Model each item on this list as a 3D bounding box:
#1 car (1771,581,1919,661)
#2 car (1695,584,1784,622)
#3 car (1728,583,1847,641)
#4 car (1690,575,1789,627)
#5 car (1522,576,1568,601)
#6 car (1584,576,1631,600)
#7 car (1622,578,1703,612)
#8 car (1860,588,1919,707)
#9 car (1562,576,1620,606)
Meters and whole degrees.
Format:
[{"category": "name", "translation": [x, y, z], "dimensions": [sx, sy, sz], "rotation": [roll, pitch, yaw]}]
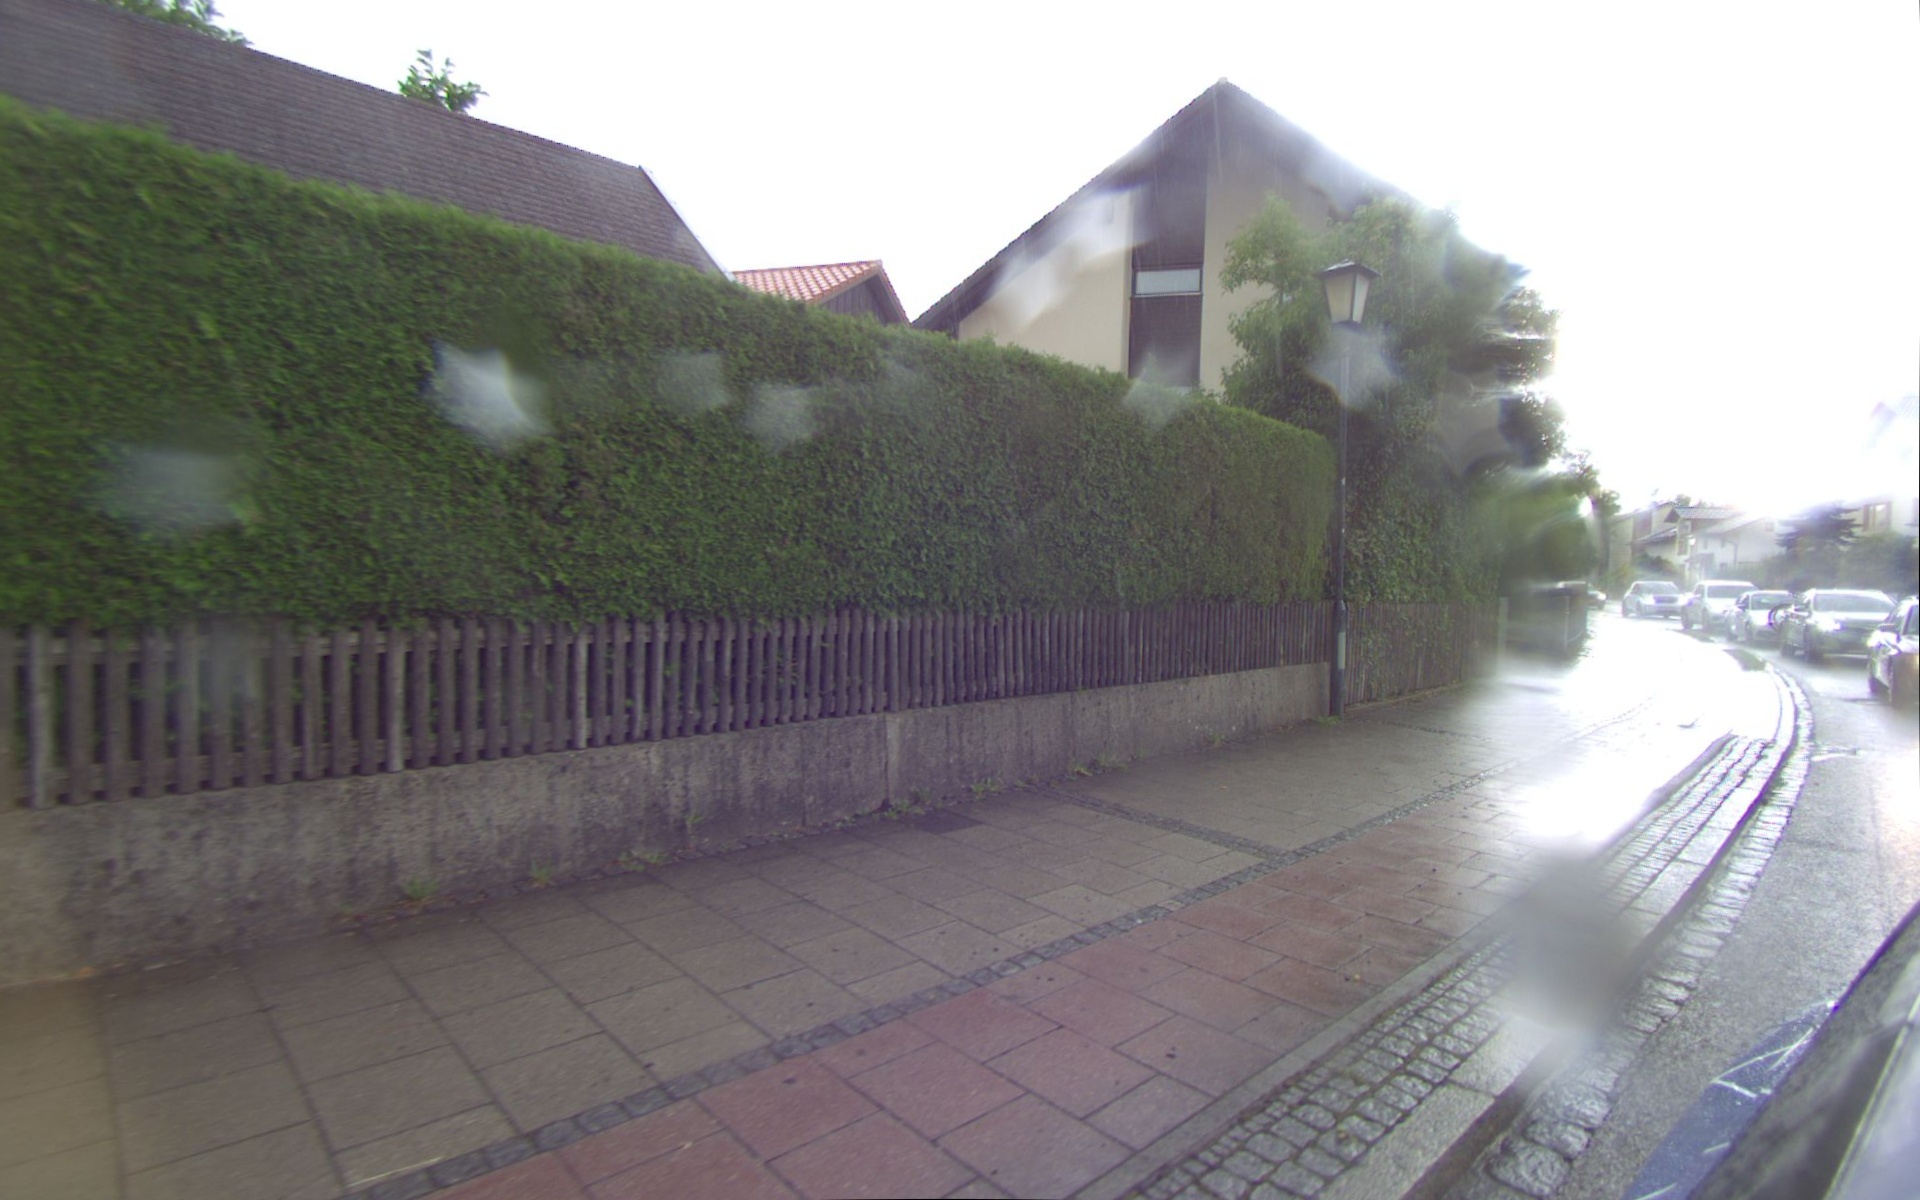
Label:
[{"category": "car", "translation": [19.027, 0.346, 21.675], "dimensions": [1.780, 1.497, 5.329], "rotation": [0, 1, 30]}, {"category": "car", "translation": [34.351, 0.111, 44.744], "dimensions": [1.976, 1.615, 4.162], "rotation": [0, 0, 21]}, {"category": "car", "translation": [21.991, 0.266, 27.054], "dimensions": [1.780, 1.412, 4.236], "rotation": [0, 1, 30]}, {"category": "car", "translation": [25.184, -0.015, 32.836], "dimensions": [1.778, 1.568, 4.241], "rotation": [0, 1, 27]}, {"category": "car", "translation": [39.022, -0.774, 67.587], "dimensions": [1.771, 1.568, 4.256], "rotation": [0, 1, 18]}, {"category": "car", "translation": [44.323, -0.820, 69.338], "dimensions": [1.773, 1.568, 4.253], "rotation": [0, 1, 20]}, {"category": "car", "translation": [30.304, -0.244, 43.795], "dimensions": [1.772, 1.390, 4.255], "rotation": [0, 1, 19]}, {"category": "car", "translation": [13.587, 0.565, 13.632], "dimensions": [1.784, 1.412, 4.225], "rotation": [0, 1, 37]}, {"category": "car", "translation": [34.897, -0.516, 56.104], "dimensions": [1.772, 1.568, 4.255], "rotation": [0, 1, 19]}]
